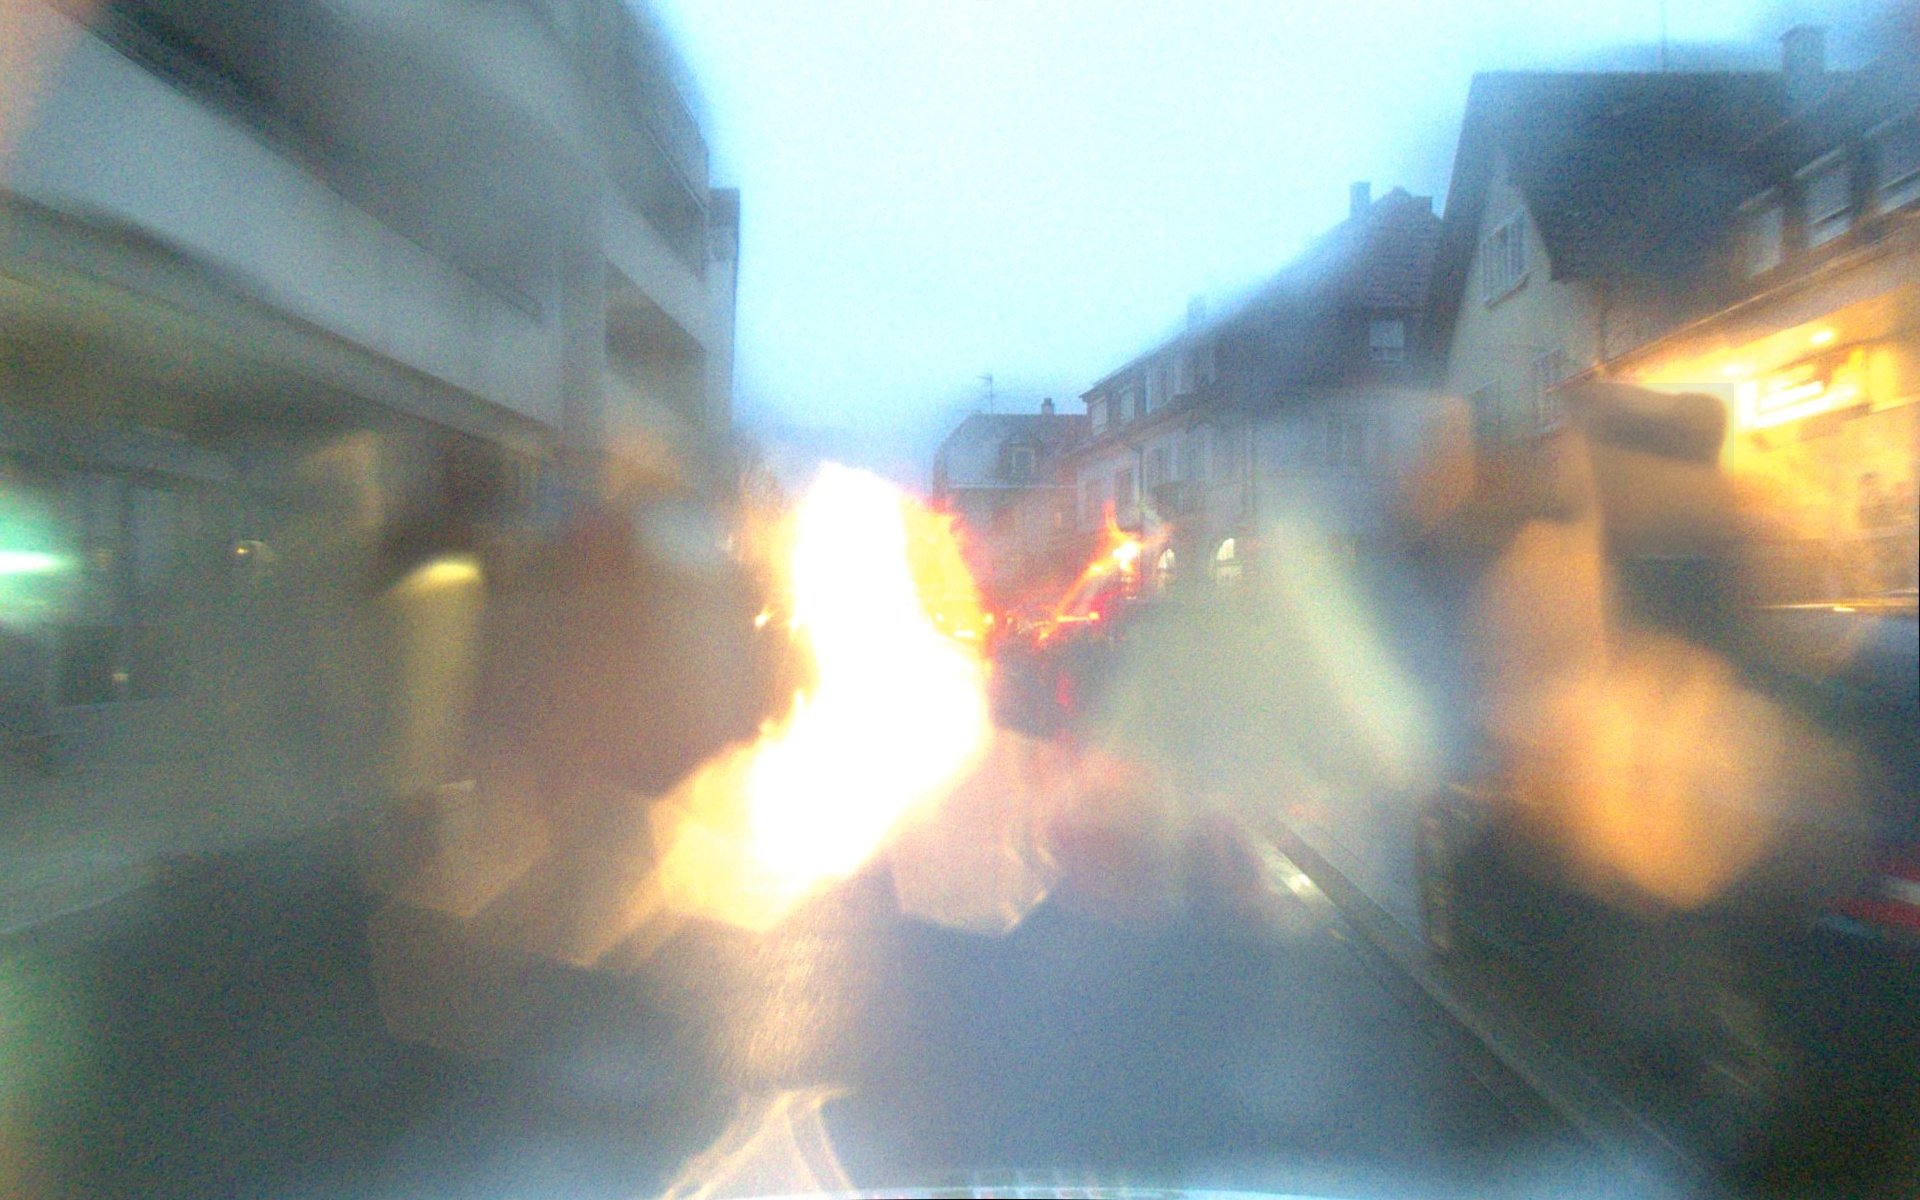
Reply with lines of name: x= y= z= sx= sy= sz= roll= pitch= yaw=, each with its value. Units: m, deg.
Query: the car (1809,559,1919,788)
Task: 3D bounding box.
car: x=7.751 y=0.378 z=11.048 sx=3.223 sy=1.466 sz=1.686 roll=-4 pitch=0 yaw=0

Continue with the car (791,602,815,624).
car: x=-11.668 y=0.952 z=122.823 sx=1.607 sy=1.562 sz=3.401 roll=0 pitch=0 yaw=-7

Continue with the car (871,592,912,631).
car: x=-2.843 y=0.455 z=68.353 sx=1.605 sy=1.507 sz=3.269 roll=1 pitch=0 yaw=-4

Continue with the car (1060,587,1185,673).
car: x=3.051 y=0.533 z=31.922 sx=1.758 sy=1.486 sz=4.529 roll=-2 pitch=0 yaw=-2

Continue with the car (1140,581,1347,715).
car: x=3.500 y=0.542 z=21.226 sx=1.786 sy=1.448 sz=4.608 roll=-3 pitch=0 yaw=0

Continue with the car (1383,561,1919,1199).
car: x=2.820 y=0.670 z=5.272 sx=1.728 sy=1.553 sz=4.389 roll=-3 pitch=0 yaw=-1

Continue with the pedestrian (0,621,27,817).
pedestrian: x=-6.929 y=0.812 z=11.193 sx=0.740 sy=1.333 sz=0.828 roll=1 pitch=0 yaw=-1

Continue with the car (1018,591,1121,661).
car: x=2.637 y=0.582 z=40.844 sx=1.845 sy=1.574 sz=4.667 roll=-1 pitch=1 yaw=-5

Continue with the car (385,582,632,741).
car: x=-4.945 y=0.609 z=18.636 sx=1.581 sy=1.559 sz=3.929 roll=1 pitch=0 yaw=1

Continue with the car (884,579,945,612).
car: x=-3.002 y=-0.297 z=110.794 sx=4.013 sy=2.200 sz=1.913 roll=0 pitch=0 yaw=-1

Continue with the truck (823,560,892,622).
truck: x=-5.712 y=-0.500 z=90.961 sx=2.960 sy=3.183 sz=7.982 roll=1 pitch=0 yaw=-9

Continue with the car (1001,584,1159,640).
car: x=3.547 y=0.326 z=49.230 sx=4.384 sy=1.499 sz=1.894 roll=-2 pitch=1 yaw=-9

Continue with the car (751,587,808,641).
car: x=-5.927 y=0.438 z=54.184 sx=1.760 sy=1.671 sz=3.806 roll=1 pitch=1 yaw=-7

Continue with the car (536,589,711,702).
car: x=-4.799 y=0.593 z=24.166 sx=1.641 sy=1.472 sz=4.427 roll=1 pitch=0 yaw=0

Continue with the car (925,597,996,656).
car: x=-0.023 y=0.694 z=44.915 sx=1.606 sy=1.507 sz=3.375 roll=1 pitch=0 yaw=-5

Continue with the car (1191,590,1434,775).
car: x=3.180 y=0.678 z=15.602 sx=1.592 sy=1.466 sz=3.801 roll=-3 pitch=0 yaw=3
